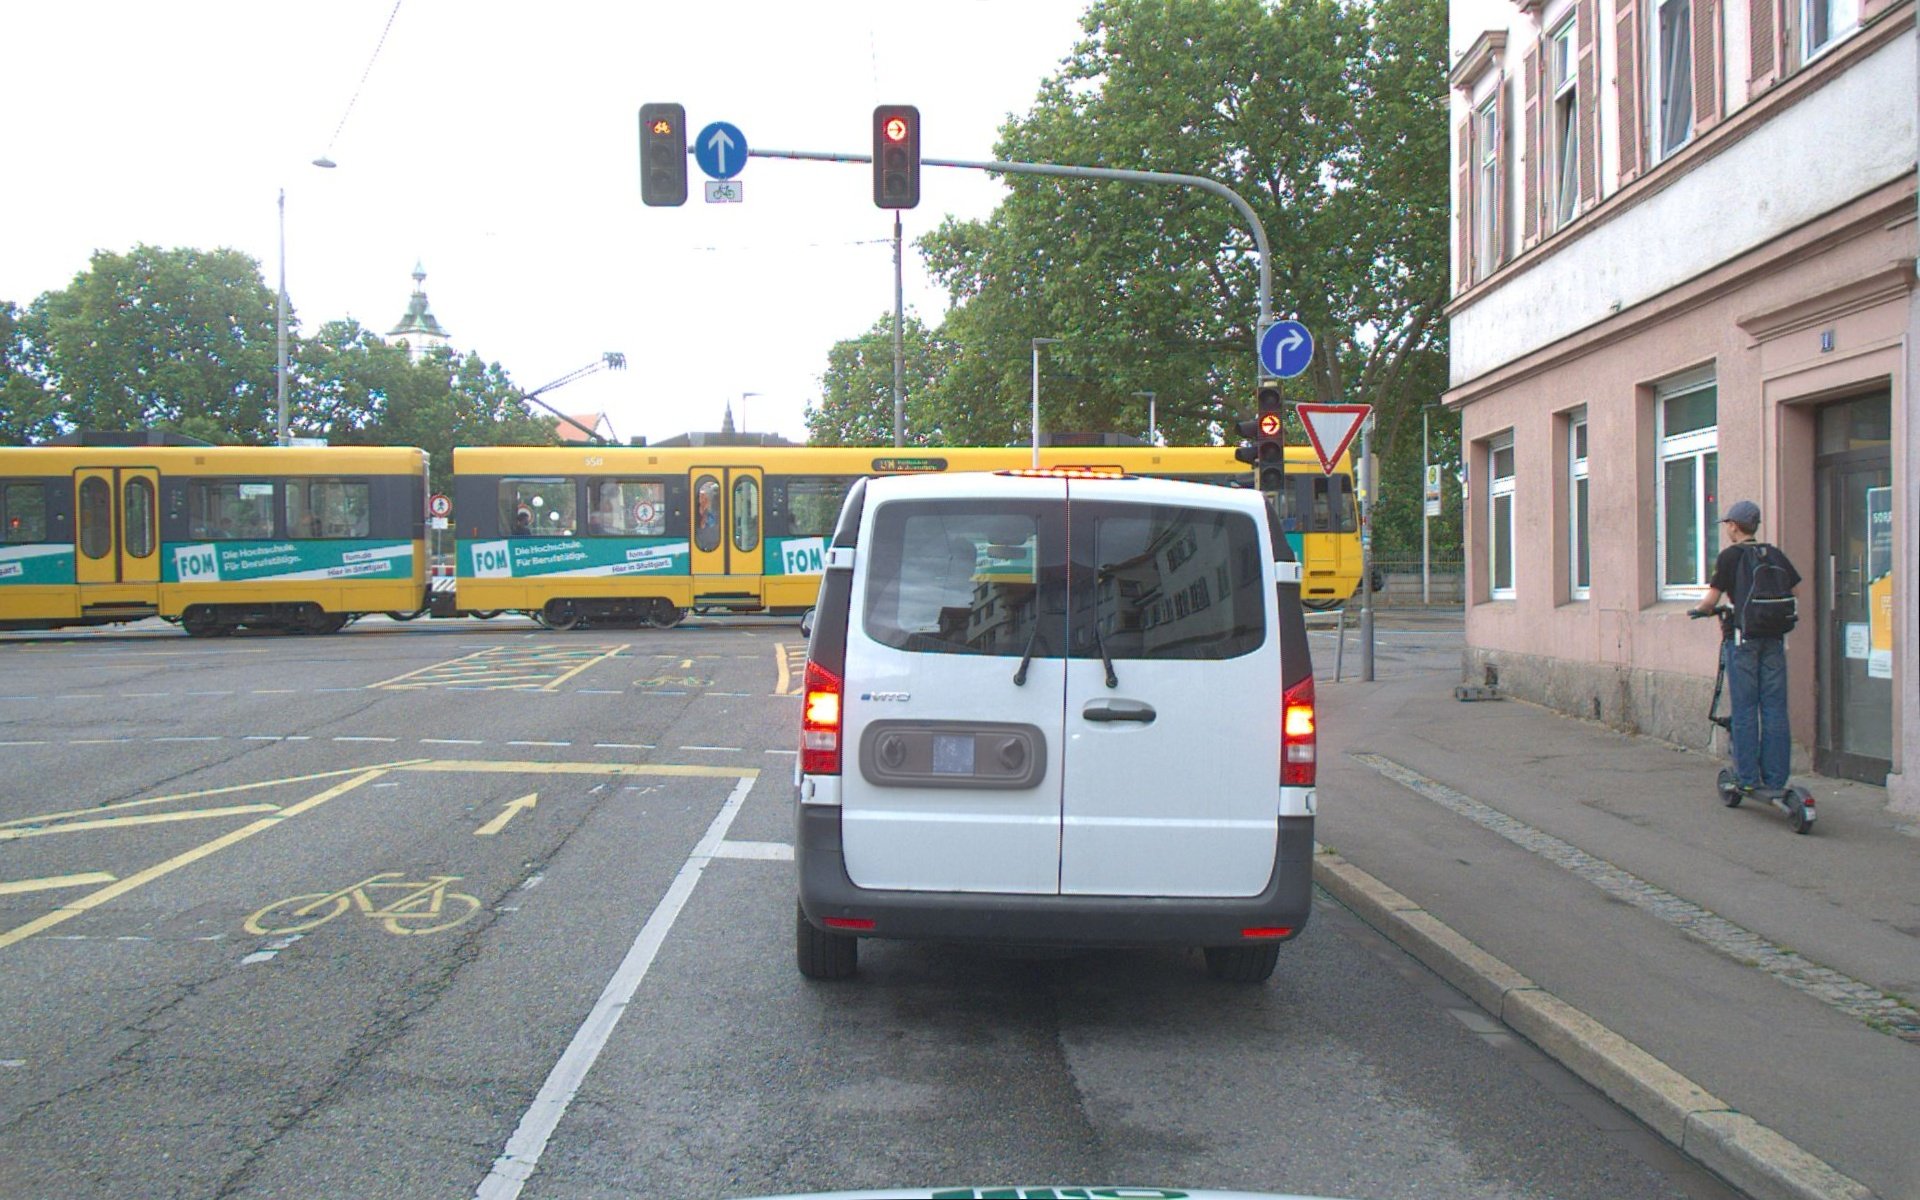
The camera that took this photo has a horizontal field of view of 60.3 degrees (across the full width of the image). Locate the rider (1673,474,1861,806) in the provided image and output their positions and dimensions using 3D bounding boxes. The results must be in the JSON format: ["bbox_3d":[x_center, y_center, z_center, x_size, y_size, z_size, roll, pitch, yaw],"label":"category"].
[{"bbox_3d":[4.760,0.224,9.800,0.703,1.880,0.797,-1,0,-1],"label":"rider"}]

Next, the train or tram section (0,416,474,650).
[{"bbox_3d":[-18.913,-1.184,30.309,18.894,4.072,3.299,-2,3,-13],"label":"train or tram section"}]

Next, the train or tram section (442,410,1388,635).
[{"bbox_3d":[-0.672,-1.670,33.715,18.418,4.072,3.260,-1,3,-8],"label":"train or tram section"}]

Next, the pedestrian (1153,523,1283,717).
[{"bbox_3d":[2.611,0.179,16.737,1.141,1.888,0.670,-2,1,-38],"label":"pedestrian"}]

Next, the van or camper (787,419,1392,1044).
[{"bbox_3d":[0.305,0.394,7.464,1.899,1.958,4.438,1,1,-3],"label":"van or camper"}]
